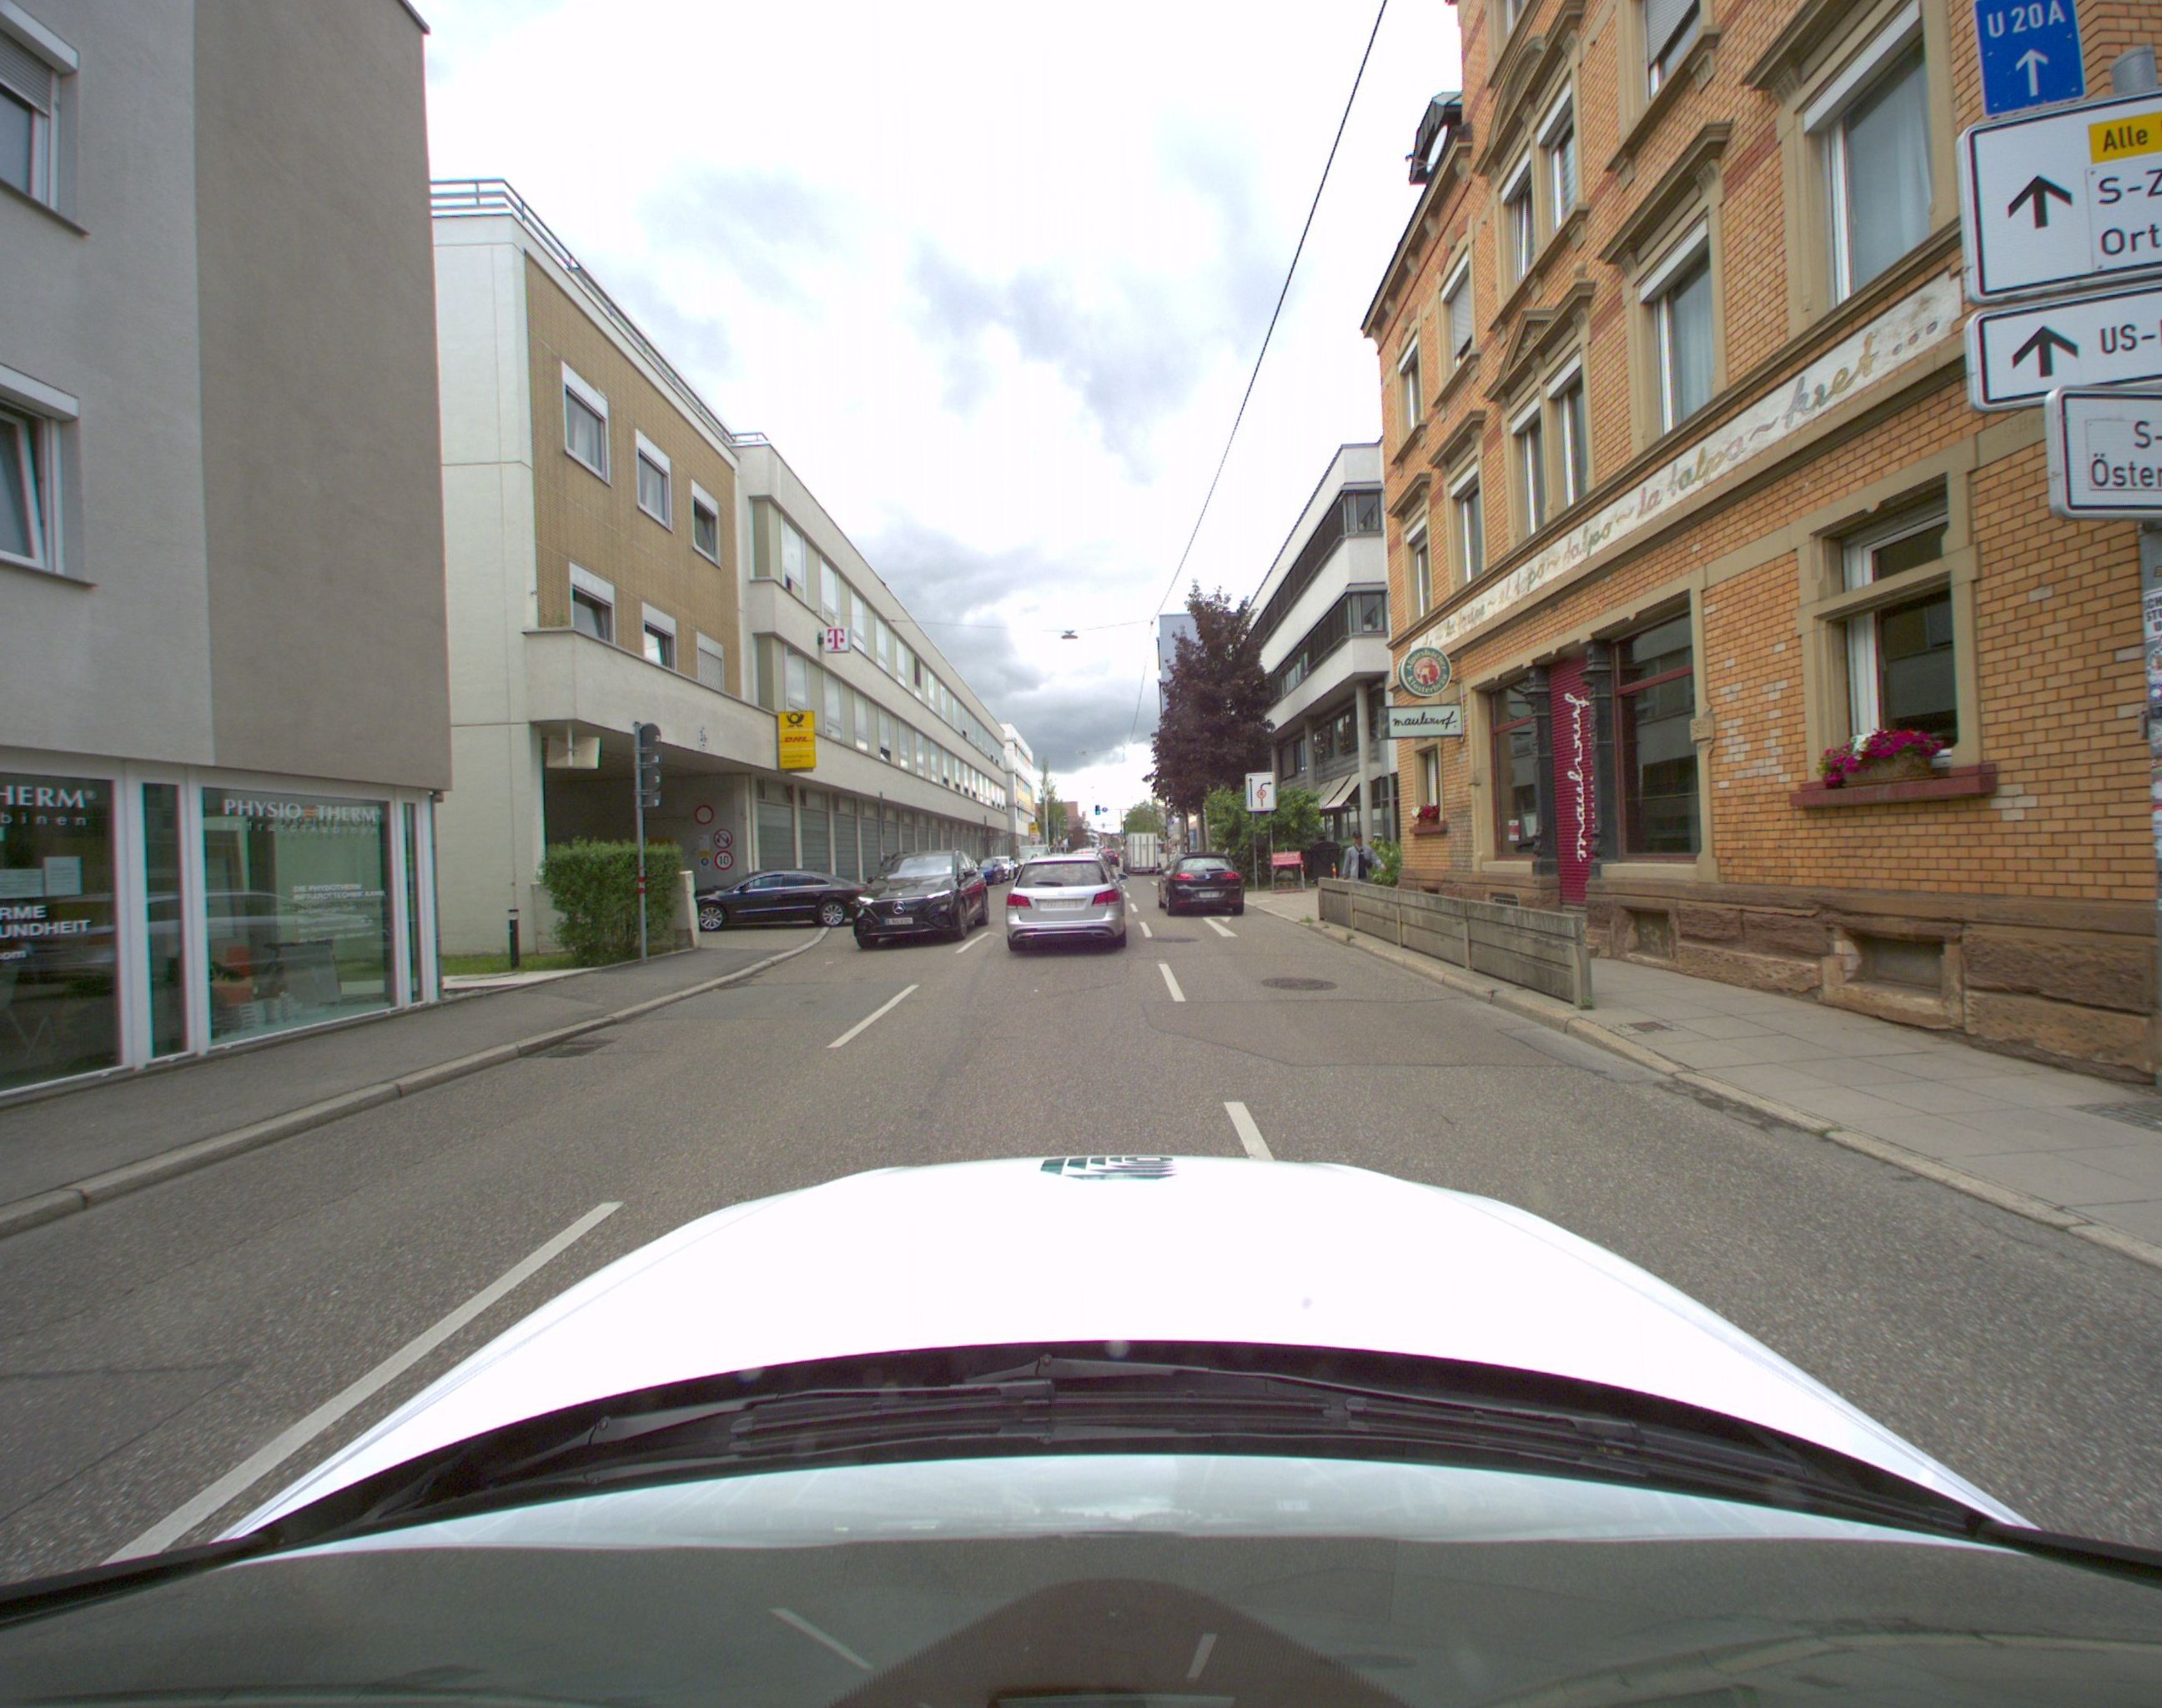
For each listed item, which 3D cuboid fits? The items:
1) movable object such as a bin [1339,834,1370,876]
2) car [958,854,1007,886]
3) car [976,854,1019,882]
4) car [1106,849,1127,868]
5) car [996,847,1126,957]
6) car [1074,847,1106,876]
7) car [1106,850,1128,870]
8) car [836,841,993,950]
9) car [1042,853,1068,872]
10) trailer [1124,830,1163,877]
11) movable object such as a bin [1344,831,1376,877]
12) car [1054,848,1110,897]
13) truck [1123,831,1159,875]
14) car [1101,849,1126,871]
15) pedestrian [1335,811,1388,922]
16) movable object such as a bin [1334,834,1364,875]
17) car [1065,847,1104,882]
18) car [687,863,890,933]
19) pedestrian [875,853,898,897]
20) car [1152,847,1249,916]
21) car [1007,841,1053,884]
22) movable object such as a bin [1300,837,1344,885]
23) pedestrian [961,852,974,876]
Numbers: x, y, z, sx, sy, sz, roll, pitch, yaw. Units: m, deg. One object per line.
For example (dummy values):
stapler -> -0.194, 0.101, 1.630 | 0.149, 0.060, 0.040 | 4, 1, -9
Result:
movable object such as a bin -> 10.210, 0.050, 30.372 | 0.817, 1.490, 0.732 | -5, -1, 3
car -> -5.181, 0.796, 43.356 | 1.986, 1.516, 4.176 | -2, 0, 1
car -> -4.974, 0.807, 49.061 | 1.986, 1.516, 4.176 | -2, 0, 1
car -> 3.176, 0.396, 73.954 | 1.797, 1.601, 3.738 | -1, 0, 1
car -> -0.241, 0.673, 13.471 | 1.797, 1.492, 3.738 | -2, 0, 1
car -> 0.558, 0.394, 47.749 | 1.797, 1.601, 3.738 | -1, 0, 1
car -> 3.019, 0.463, 68.726 | 1.797, 1.601, 3.738 | -1, 0, 1
car -> -3.093, 0.702, 16.224 | 1.986, 1.738, 4.554 | -4, 0, 1
car -> -2.016, 0.648, 65.049 | 1.763, 1.413, 4.176 | -4, 0, 1
trailer -> 3.709, -0.049, 49.060 | 1.986, 2.607, 5.350 | -2, 0, 1
movable object such as a bin -> 10.152, -0.010, 29.618 | 0.817, 1.589, 0.732 | -5, -1, 3
car -> 0.076, 0.597, 28.699 | 1.797, 1.553, 3.738 | -2, 0, 1
truck -> 3.767, -0.071, 51.810 | 1.986, 2.607, 3.261 | -2, 0, 1
car -> 2.420, 0.451, 61.425 | 1.797, 1.601, 3.738 | -1, 0, 1
pedestrian -> 5.270, 0.227, 15.337 | 0.691, 2.013, 0.677 | -2, 0, 0
movable object such as a bin -> 10.239, 0.031, 31.130 | 0.817, 1.504, 0.732 | -5, -1, 3
car -> 0.192, 0.487, 40.033 | 1.797, 1.601, 3.738 | -1, 0, 1
car -> -7.097, 1.001, 19.826 | 4.424, 1.365, 1.769 | -2, 0, -28
pedestrian -> -7.993, 0.841, 33.510 | 0.640, 1.769, 0.810 | -2, 0, 1
car -> 2.773, 0.584, 19.676 | 1.759, 1.433, 3.828 | -2, 0, 1
car -> -2.667, 0.415, 43.709 | 1.986, 2.013, 4.903 | -4, 0, 1
movable object such as a bin -> 7.973, 0.222, 27.031 | 0.940, 1.470, 1.445 | -4, 0, -1
pedestrian -> -7.854, 0.678, 56.348 | 0.653, 1.623, 0.681 | -2, 0, 2
